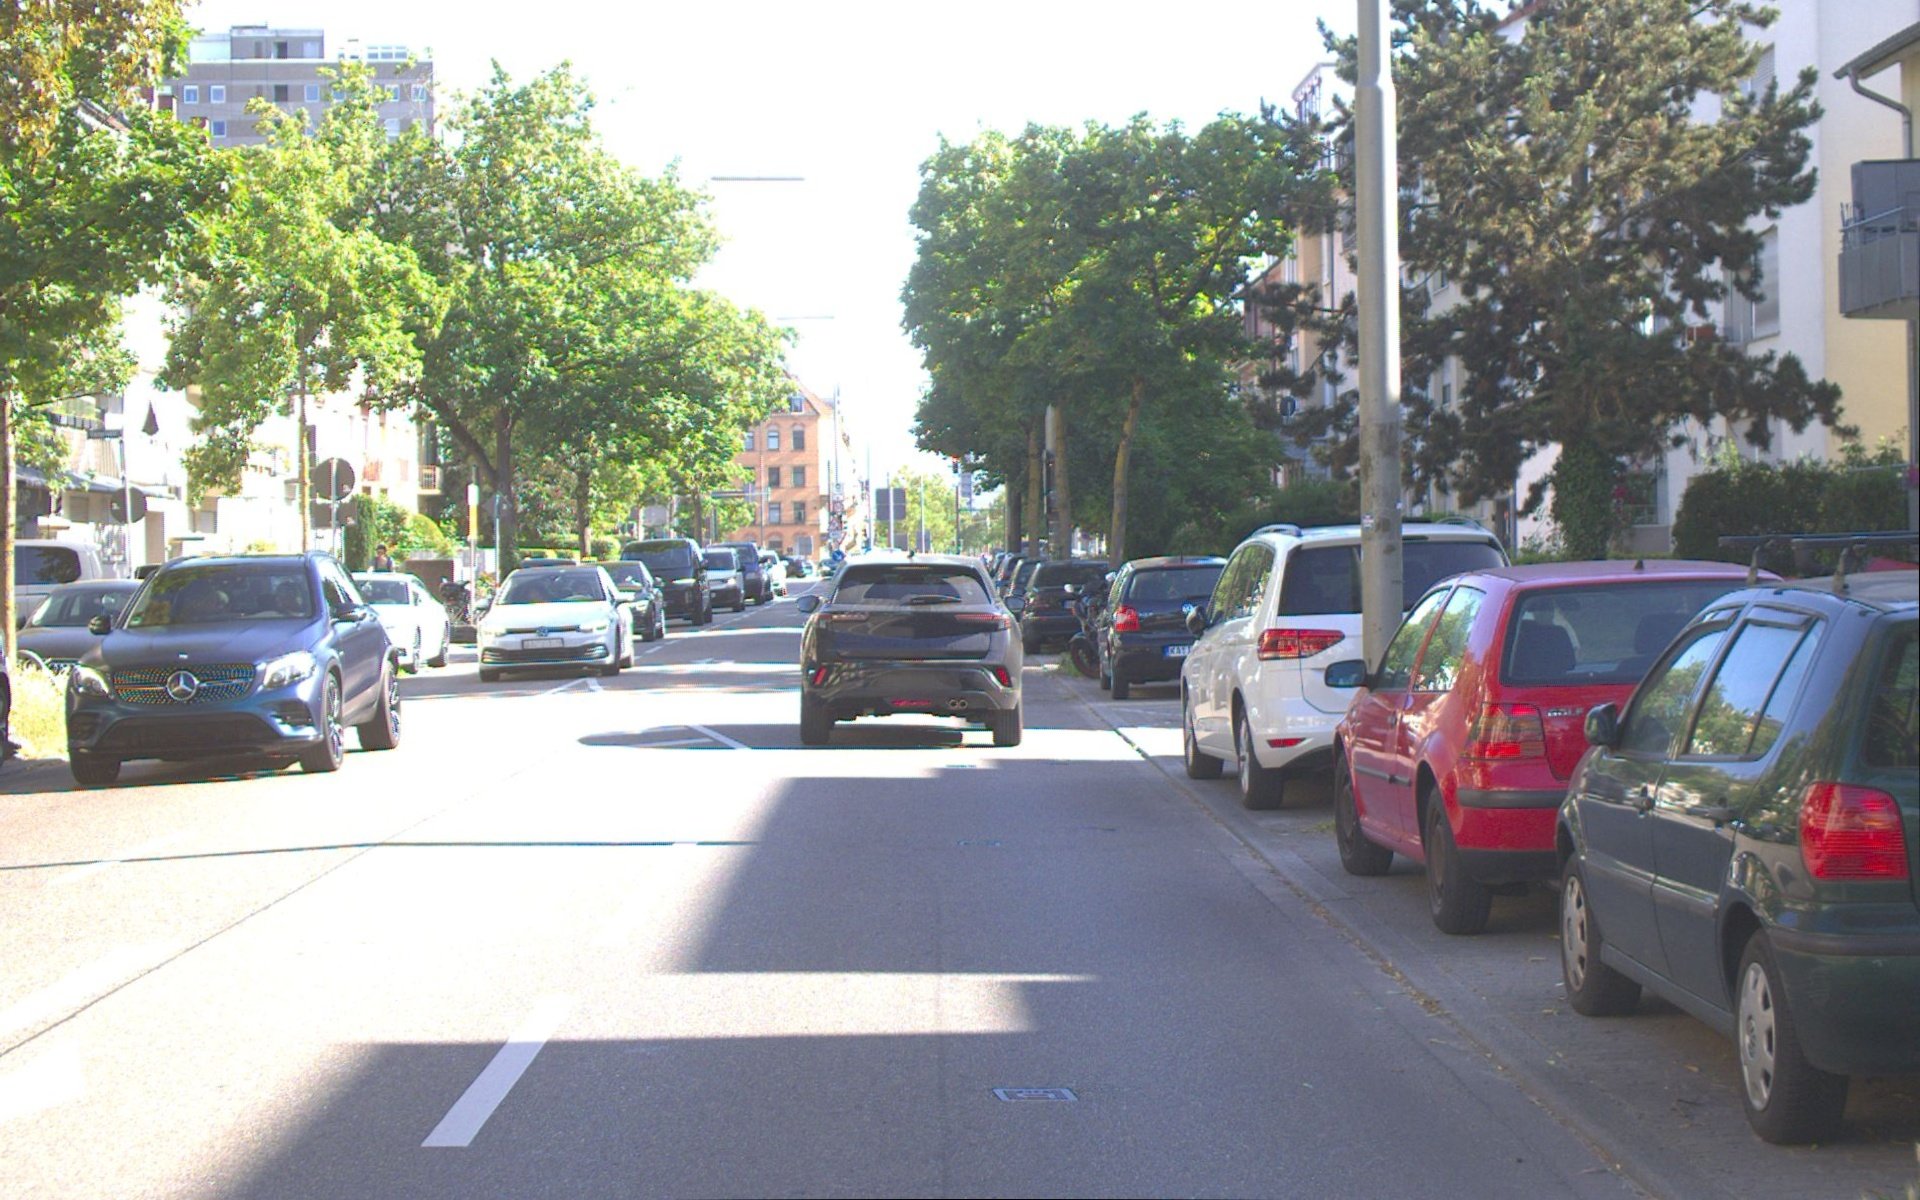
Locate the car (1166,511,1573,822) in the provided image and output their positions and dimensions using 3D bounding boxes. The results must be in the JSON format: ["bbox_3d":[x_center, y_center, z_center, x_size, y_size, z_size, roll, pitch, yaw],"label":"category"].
[{"bbox_3d":[2.397,0.329,21.195,1.768,1.653,4.342,-2,1,-2],"label":"car"}]

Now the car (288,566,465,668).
[{"bbox_3d":[-8.400,0.213,49.898,1.833,1.384,4.802,0,1,-1],"label":"car"}]

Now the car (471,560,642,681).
[{"bbox_3d":[-5.253,0.230,45.163,1.733,1.407,4.192,-3,1,-1],"label":"car"}]

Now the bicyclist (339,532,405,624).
[{"bbox_3d":[-11.787,-0.437,68.925,1.052,1.818,0.660,-1,1,24],"label":"bicyclist"}]

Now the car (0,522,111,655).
[{"bbox_3d":[-14.588,-0.171,49.427,4.314,1.872,1.880,-1,1,-26],"label":"car"}]

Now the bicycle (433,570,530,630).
[{"bbox_3d":[-9.205,-0.003,66.071,1.933,1.131,0.461,1,1,27],"label":"bicycle"}]

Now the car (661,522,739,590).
[{"bbox_3d":[-7.116,-1.210,94.342,1.815,1.737,4.493,-3,1,-1],"label":"car"}]

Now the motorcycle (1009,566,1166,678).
[{"bbox_3d":[1.511,0.260,41.260,0.697,1.267,2.432,-3,1,-28],"label":"motorcycle"}]

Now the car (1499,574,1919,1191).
[{"bbox_3d":[2.640,0.638,9.812,1.531,1.351,3.718,-2,1,-1],"label":"car"}]

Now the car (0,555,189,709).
[{"bbox_3d":[-8.951,0.274,34.314,1.636,1.412,4.090,1,1,-1],"label":"car"}]

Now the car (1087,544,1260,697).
[{"bbox_3d":[2.245,0.177,36.877,1.620,1.494,3.649,-2,1,1],"label":"car"}]

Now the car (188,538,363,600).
[{"bbox_3d":[-16.948,-0.780,85.273,3.987,1.481,1.881,0,1,-1],"label":"car"}]

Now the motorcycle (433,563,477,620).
[{"bbox_3d":[-10.322,-0.187,70.319,0.461,1.122,1.717,0,1,7],"label":"motorcycle"}]

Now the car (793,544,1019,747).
[{"bbox_3d":[-0.445,0.330,28.450,1.745,1.568,3.558,0,1,-1],"label":"car"}]

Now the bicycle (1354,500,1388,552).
[{"bbox_3d":[10.542,-1.904,88.172,0.591,1.283,1.689,-4,1,0],"label":"bicycle"}]

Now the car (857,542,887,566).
[{"bbox_3d":[-5.285,-2.780,207.493,1.771,1.447,3.886,-1,1,-1],"label":"car"}]

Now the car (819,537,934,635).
[{"bbox_3d":[-1.386,-0.266,58.240,1.830,1.573,3.839,-1,1,0],"label":"car"}]

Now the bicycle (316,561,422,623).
[{"bbox_3d":[-11.855,-0.166,68.936,2.188,1.188,0.449,-1,1,23],"label":"bicycle"}]

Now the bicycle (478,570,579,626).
[{"bbox_3d":[-8.575,-0.052,68.372,2.025,1.088,0.462,0,1,22],"label":"bicycle"}]

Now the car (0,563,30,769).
[{"bbox_3d":[-8.180,0.530,25.243,1.624,1.583,4.348,1,1,-2],"label":"car"}]

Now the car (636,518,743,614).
[{"bbox_3d":[-5.966,-0.776,76.417,2.016,1.945,5.179,-3,1,-2],"label":"car"}]

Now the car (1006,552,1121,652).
[{"bbox_3d":[1.559,-0.003,53.017,1.586,1.391,4.454,-3,1,0],"label":"car"}]

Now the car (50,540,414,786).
[{"bbox_3d":[-5.410,0.397,26.104,1.836,1.608,4.401,-3,1,-1],"label":"car"}]

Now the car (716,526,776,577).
[{"bbox_3d":[-7.105,-1.606,114.362,1.719,1.560,4.343,-4,1,-1],"label":"car"}]

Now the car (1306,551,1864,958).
[{"bbox_3d":[2.496,0.543,14.550,1.531,1.444,3.718,-2,1,-2],"label":"car"}]

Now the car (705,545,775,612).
[{"bbox_3d":[-6.722,-0.684,105.391,1.803,1.904,4.712,-3,1,-1],"label":"car"}]

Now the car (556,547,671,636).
[{"bbox_3d":[-6.246,-0.179,62.392,1.691,1.448,4.174,-3,1,-1],"label":"car"}]
